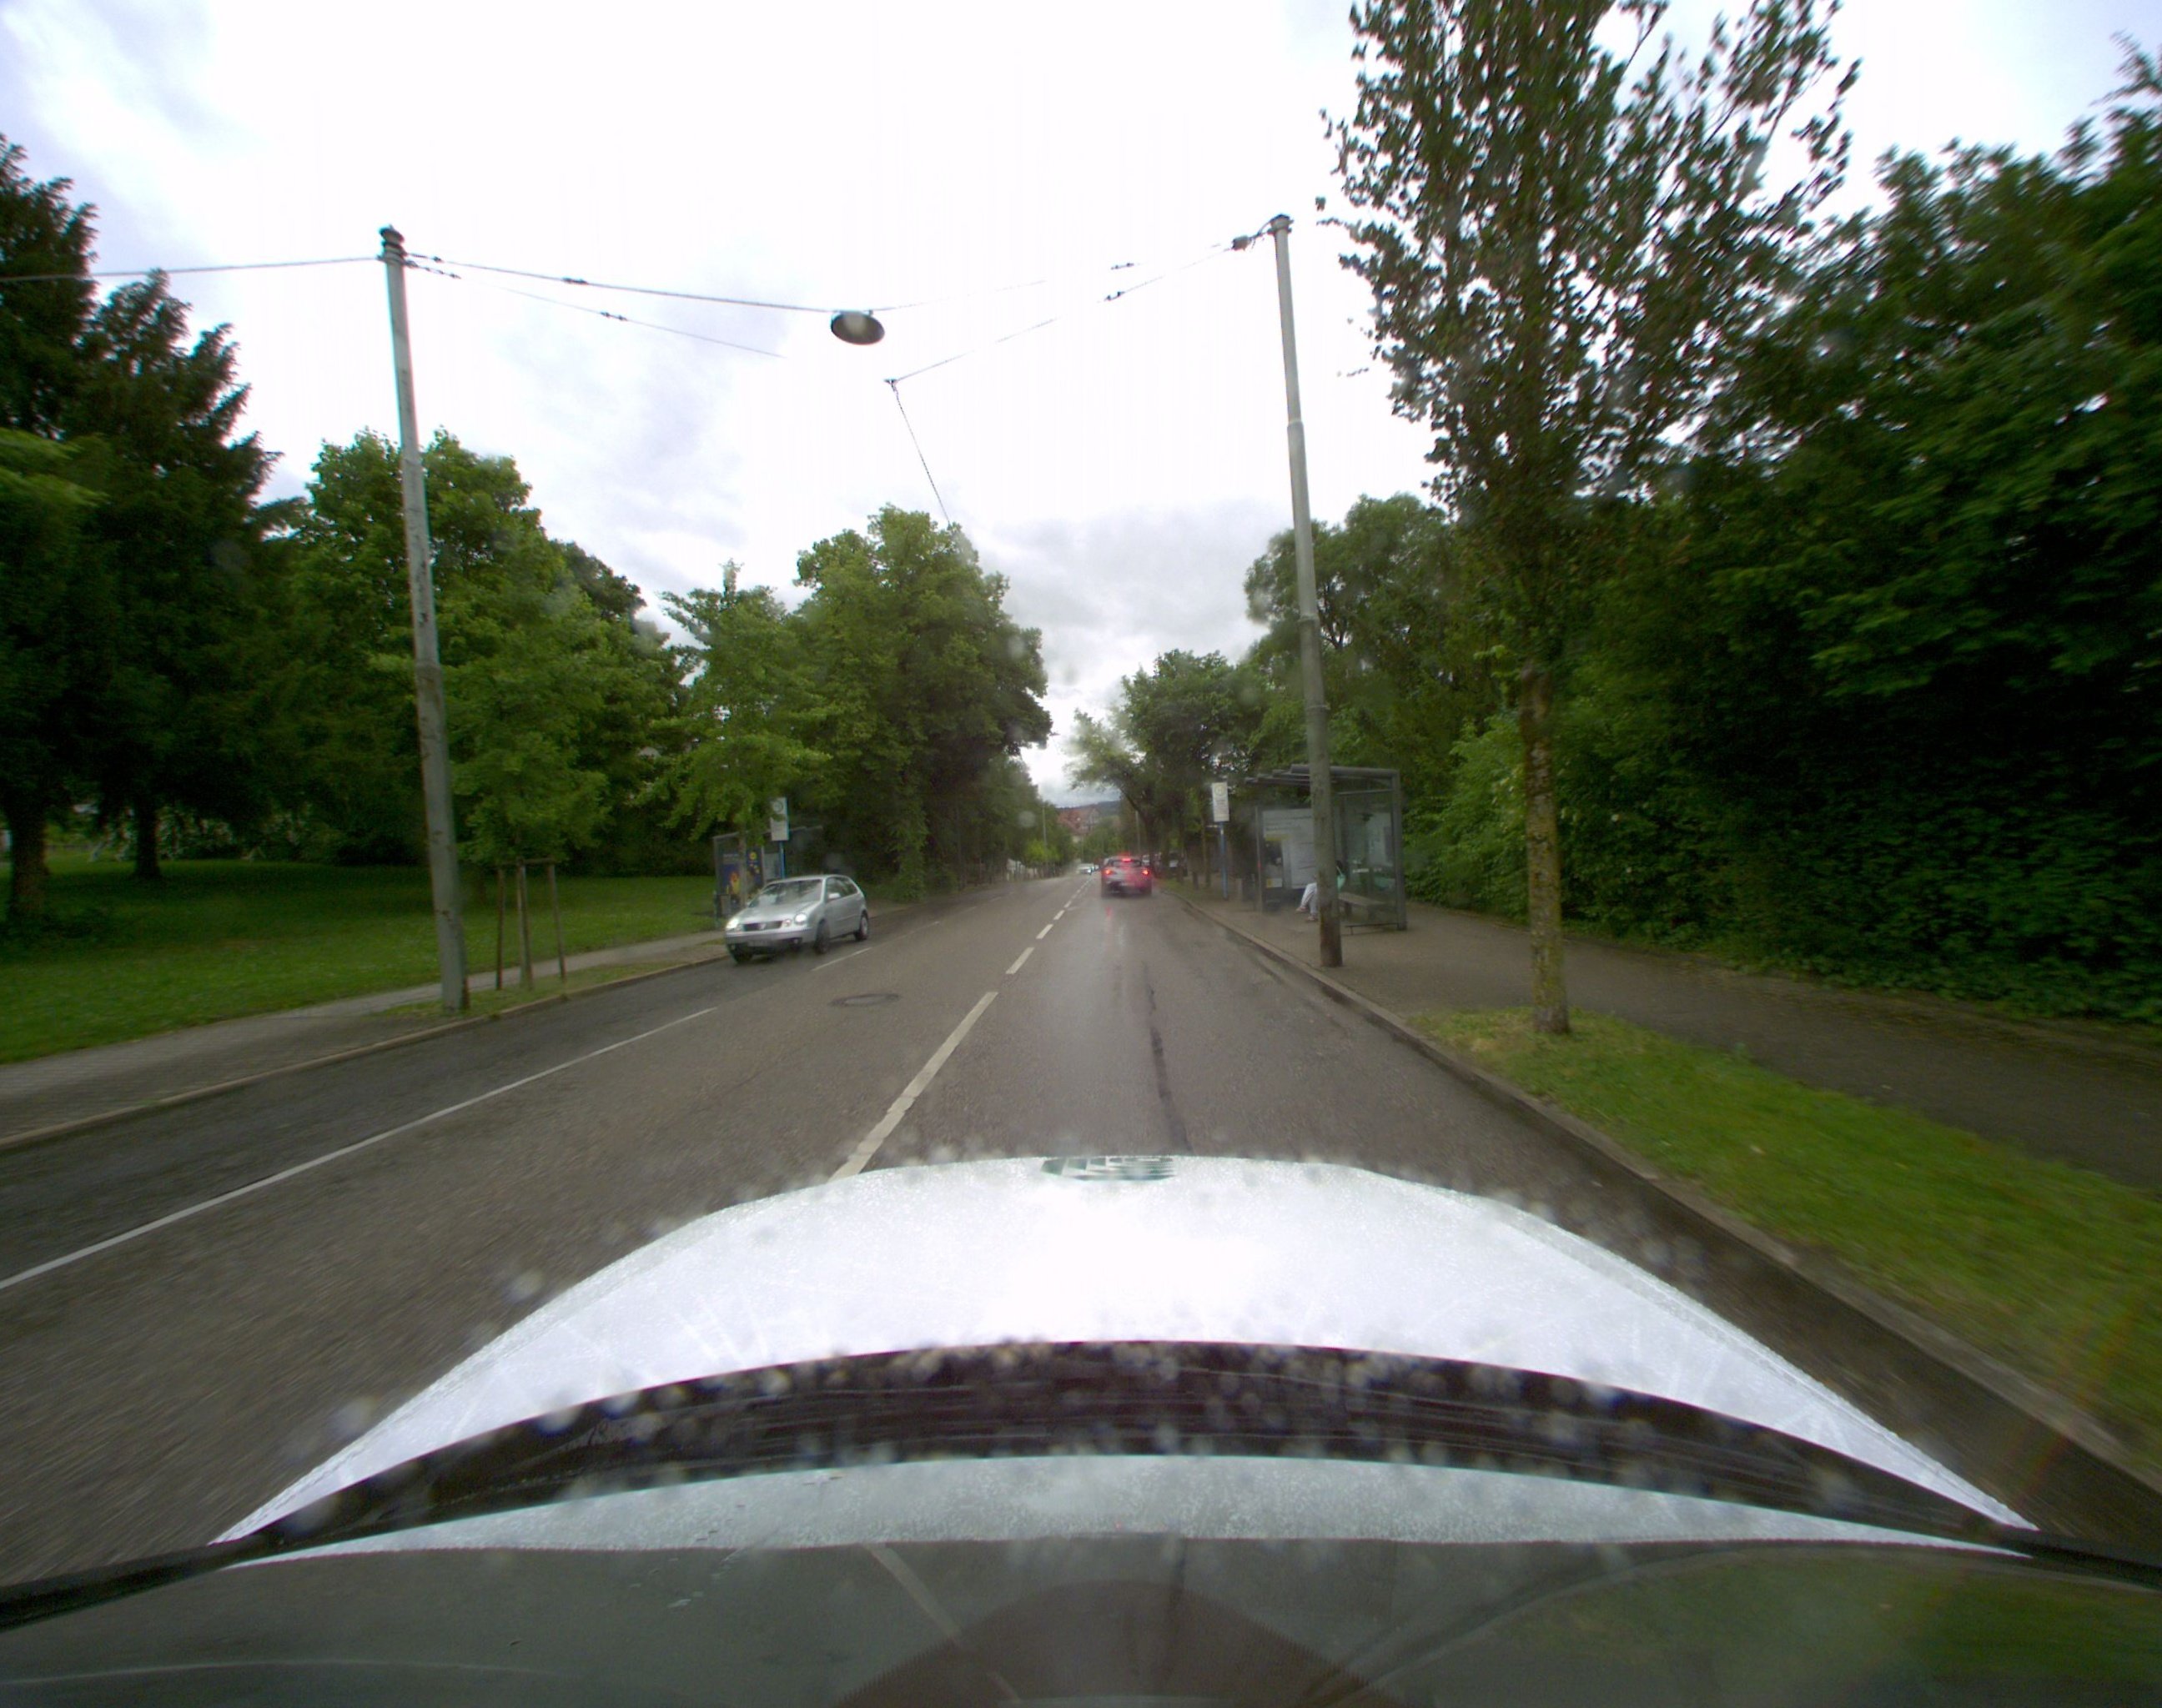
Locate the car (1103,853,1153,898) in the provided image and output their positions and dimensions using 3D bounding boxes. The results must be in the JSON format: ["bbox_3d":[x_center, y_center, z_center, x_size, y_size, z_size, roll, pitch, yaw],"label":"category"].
[{"bbox_3d":[1.761,0.760,30.472,1.747,1.464,4.004,-1,1,3],"label":"car"}]

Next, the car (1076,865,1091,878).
[{"bbox_3d":[0.298,2.189,100.655,1.715,1.464,4.002,0,0,2],"label":"car"}]

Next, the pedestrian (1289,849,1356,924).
[{"bbox_3d":[4.686,0.617,15.872,1.067,1.355,0.920,-4,0,8],"label":"pedestrian"}]

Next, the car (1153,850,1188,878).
[{"bbox_3d":[5.303,0.555,48.707,1.715,1.464,4.003,-4,0,2],"label":"car"}]

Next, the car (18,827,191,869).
[{"bbox_3d":[-38.702,-0.251,32.407,3.911,1.486,1.921,-2,0,-21],"label":"car"}]

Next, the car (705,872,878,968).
[{"bbox_3d":[-5.411,1.165,15.817,1.715,1.399,4.002,-4,0,2],"label":"car"}]

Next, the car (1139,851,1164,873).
[{"bbox_3d":[5.518,0.605,63.873,1.715,1.464,4.003,-4,0,2],"label":"car"}]

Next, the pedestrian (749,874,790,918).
[{"bbox_3d":[-10.361,1.386,27.088,0.932,1.403,0.920,0,1,8],"label":"pedestrian"}]

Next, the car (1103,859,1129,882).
[{"bbox_3d":[2.401,1.157,56.520,1.747,1.464,4.001,-1,-2,2],"label":"car"}]
